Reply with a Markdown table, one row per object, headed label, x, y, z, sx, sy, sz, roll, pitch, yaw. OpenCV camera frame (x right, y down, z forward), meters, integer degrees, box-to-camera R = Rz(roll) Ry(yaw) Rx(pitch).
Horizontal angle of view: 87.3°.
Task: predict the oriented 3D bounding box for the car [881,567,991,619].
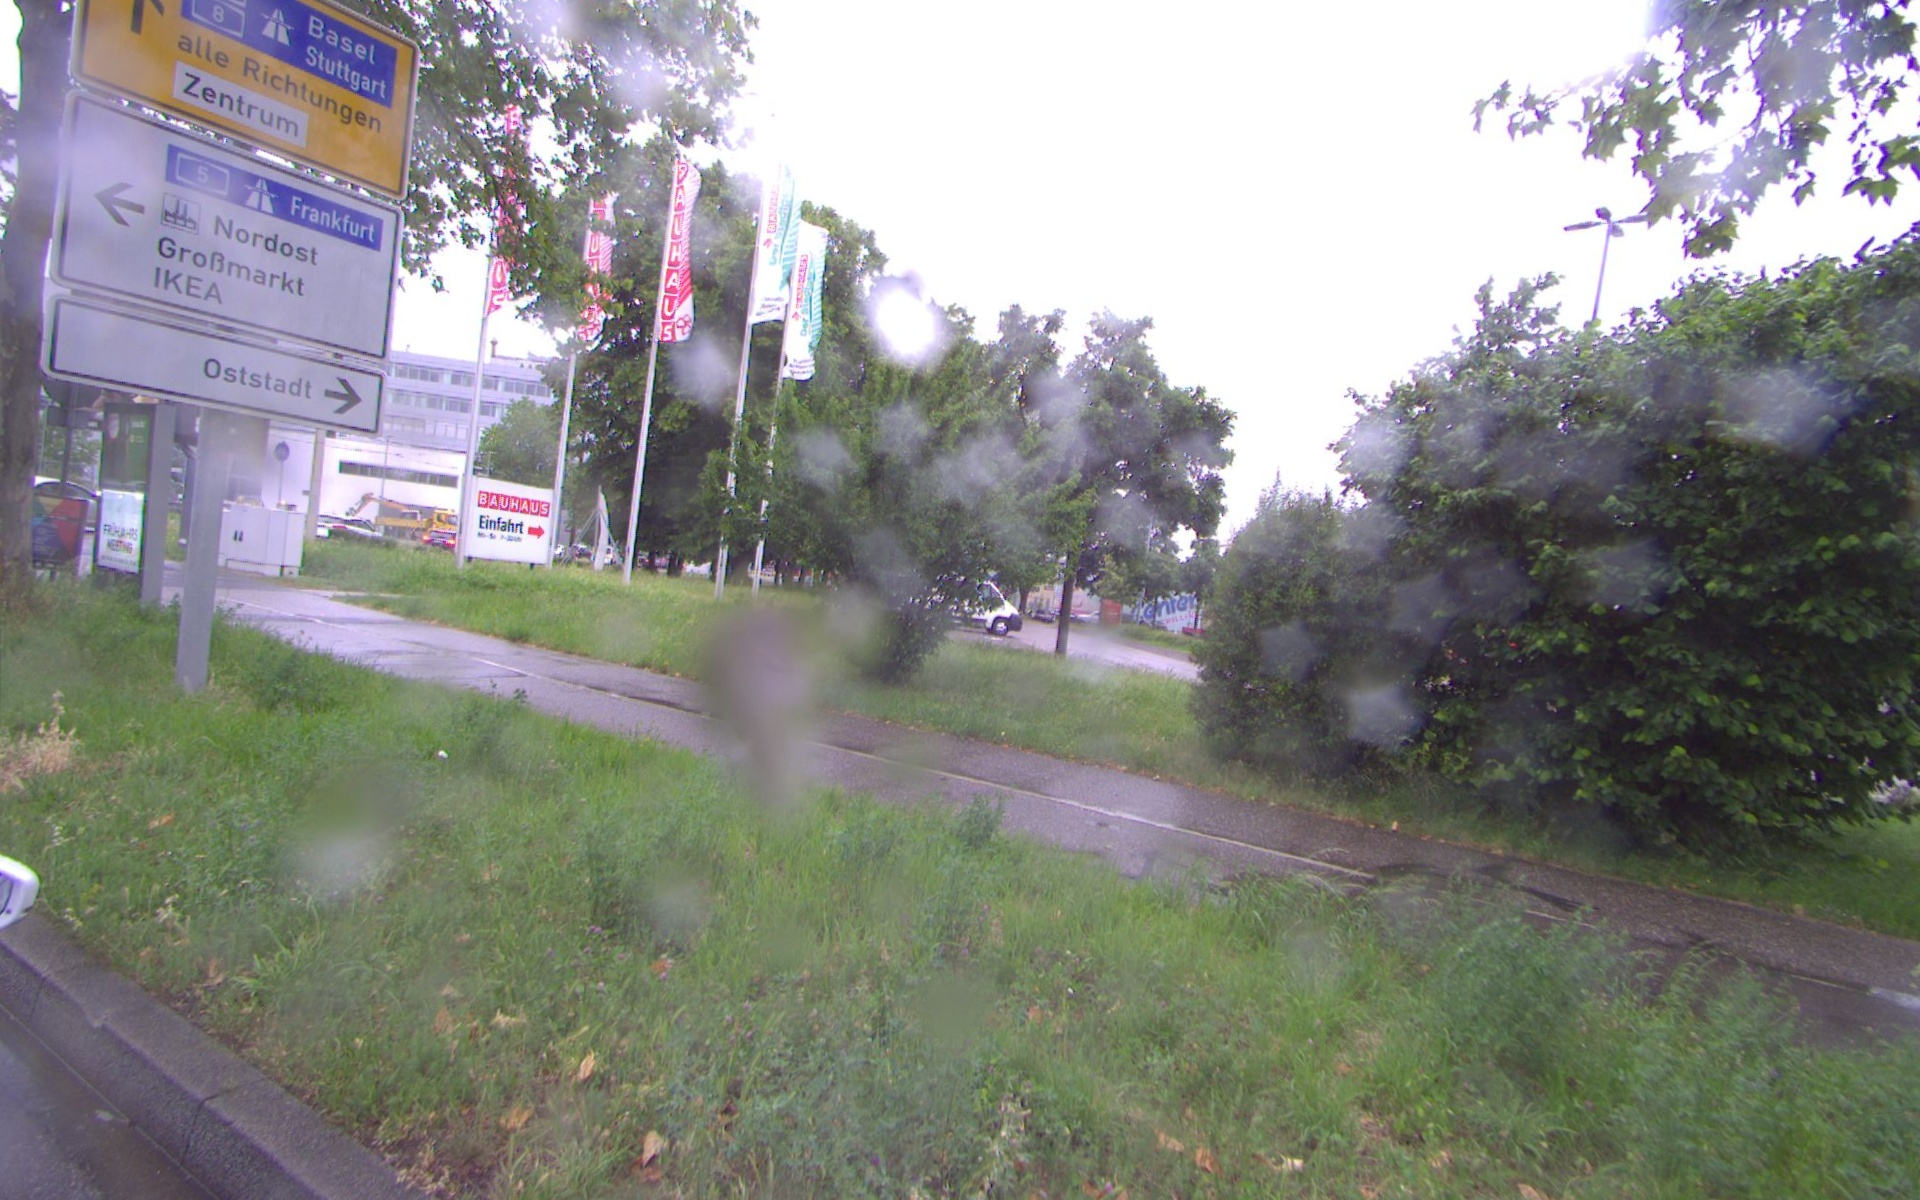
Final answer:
| label | x | y | z | sx | sy | sz | roll | pitch | yaw |
| --- | --- | --- | --- | --- | --- | --- | --- | --- | --- |
| car | -1.391 | -0.409 | 57.643 | 5.955 | 2.232 | 2.190 | 7 | 1 | -2 |

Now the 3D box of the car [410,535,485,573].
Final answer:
| label | x | y | z | sx | sy | sz | roll | pitch | yaw |
| --- | --- | --- | --- | --- | --- | --- | --- | --- | --- |
| car | -27.710 | -2.462 | 54.579 | 1.893 | 1.606 | 4.622 | 6 | 0 | -4 |

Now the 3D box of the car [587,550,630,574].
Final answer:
| label | x | y | z | sx | sy | sz | roll | pitch | yaw |
| --- | --- | --- | --- | --- | --- | --- | --- | --- | --- |
| car | -28.128 | -3.016 | 80.649 | 1.892 | 1.606 | 4.623 | 6 | 0 | -4 |

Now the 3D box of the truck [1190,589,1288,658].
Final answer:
| label | x | y | z | sx | sy | sz | roll | pitch | yaw |
| --- | --- | --- | --- | --- | --- | --- | --- | --- | --- |
| truck | 16.519 | 1.333 | 60.351 | 2.507 | 3.511 | 9.397 | 8 | 0 | -2 |

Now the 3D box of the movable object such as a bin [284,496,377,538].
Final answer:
| label | x | y | z | sx | sy | sz | roll | pitch | yaw |
| --- | --- | --- | --- | --- | --- | --- | --- | --- | --- |
| movable object such as a bin | -60.591 | -7.926 | 97.008 | 6.601 | 3.034 | 3.324 | 7 | 1 | -4 |

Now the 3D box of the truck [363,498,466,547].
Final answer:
| label | x | y | z | sx | sy | sz | roll | pitch | yaw |
| --- | --- | --- | --- | --- | --- | --- | --- | --- | --- |
| truck | -52.676 | -7.441 | 97.332 | 7.747 | 3.552 | 3.325 | 7 | 1 | -4 |

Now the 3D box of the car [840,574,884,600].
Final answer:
| label | x | y | z | sx | sy | sz | roll | pitch | yaw |
| --- | --- | --- | --- | --- | --- | --- | --- | --- | --- |
| car | -10.015 | -1.297 | 102.770 | 4.210 | 2.075 | 1.762 | 8 | 1 | -7 |

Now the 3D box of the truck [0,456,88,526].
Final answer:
| label | x | y | z | sx | sy | sz | roll | pitch | yaw |
| --- | --- | --- | --- | --- | --- | --- | --- | --- | --- |
| truck | -38.022 | -4.437 | 39.163 | 2.438 | 2.394 | 6.860 | 7 | 0 | -5 |

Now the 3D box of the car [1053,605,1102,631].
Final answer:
| label | x | y | z | sx | sy | sz | roll | pitch | yaw |
| --- | --- | --- | --- | --- | --- | --- | --- | --- | --- |
| car | 11.849 | 1.844 | 101.818 | 4.612 | 2.038 | 2.001 | 7 | 0 | 3 |

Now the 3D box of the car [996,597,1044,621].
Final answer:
| label | x | y | z | sx | sy | sz | roll | pitch | yaw |
| --- | --- | --- | --- | --- | --- | --- | --- | --- | --- |
| car | 6.291 | 0.925 | 105.499 | 4.615 | 2.039 | 1.999 | 7 | 1 | -3 |

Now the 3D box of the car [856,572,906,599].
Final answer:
| label | x | y | z | sx | sy | sz | roll | pitch | yaw |
| --- | --- | --- | --- | --- | --- | --- | --- | --- | --- |
| car | -7.859 | -1.446 | 100.591 | 4.670 | 2.241 | 1.964 | 6 | 1 | -2 |

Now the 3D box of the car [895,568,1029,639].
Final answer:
| label | x | y | z | sx | sy | sz | roll | pitch | yaw |
| --- | --- | --- | --- | --- | --- | --- | --- | --- | --- |
| car | 0.029 | 0.144 | 40.889 | 5.015 | 2.232 | 2.188 | 7 | 1 | -9 |

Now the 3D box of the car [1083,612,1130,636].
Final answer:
| label | x | y | z | sx | sy | sz | roll | pitch | yaw |
| --- | --- | --- | --- | --- | --- | --- | --- | --- | --- |
| car | 15.656 | 2.563 | 107.504 | 4.612 | 2.038 | 2.001 | 7 | 0 | 3 |

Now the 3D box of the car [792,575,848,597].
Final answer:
| label | x | y | z | sx | sy | sz | roll | pitch | yaw |
| --- | --- | --- | --- | --- | --- | --- | --- | --- | --- |
| car | -15.418 | -1.585 | 111.068 | 5.853 | 1.754 | 2.276 | 6 | 1 | -3 |

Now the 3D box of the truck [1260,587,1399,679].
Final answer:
| label | x | y | z | sx | sy | sz | roll | pitch | yaw |
| --- | --- | --- | --- | --- | --- | --- | --- | --- | --- |
| truck | 16.715 | 1.338 | 46.234 | 2.508 | 3.513 | 8.008 | 8 | 0 | -4 |

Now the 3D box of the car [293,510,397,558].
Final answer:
| label | x | y | z | sx | sy | sz | roll | pitch | yaw |
| --- | --- | --- | --- | --- | --- | --- | --- | --- | --- |
| car | -27.425 | -2.903 | 45.047 | 1.892 | 1.606 | 4.623 | 6 | 0 | -3 |

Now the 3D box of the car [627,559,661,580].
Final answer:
| label | x | y | z | sx | sy | sz | roll | pitch | yaw |
| --- | --- | --- | --- | --- | --- | --- | --- | --- | --- |
| car | -30.000 | -2.892 | 95.487 | 1.892 | 1.606 | 4.623 | 6 | 0 | -4 |

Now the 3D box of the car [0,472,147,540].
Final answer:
| label | x | y | z | sx | sy | sz | roll | pitch | yaw |
| --- | --- | --- | --- | --- | --- | --- | --- | --- | --- |
| car | -26.449 | -2.738 | 29.082 | 1.892 | 1.509 | 4.828 | 6 | 0 | -1 |
